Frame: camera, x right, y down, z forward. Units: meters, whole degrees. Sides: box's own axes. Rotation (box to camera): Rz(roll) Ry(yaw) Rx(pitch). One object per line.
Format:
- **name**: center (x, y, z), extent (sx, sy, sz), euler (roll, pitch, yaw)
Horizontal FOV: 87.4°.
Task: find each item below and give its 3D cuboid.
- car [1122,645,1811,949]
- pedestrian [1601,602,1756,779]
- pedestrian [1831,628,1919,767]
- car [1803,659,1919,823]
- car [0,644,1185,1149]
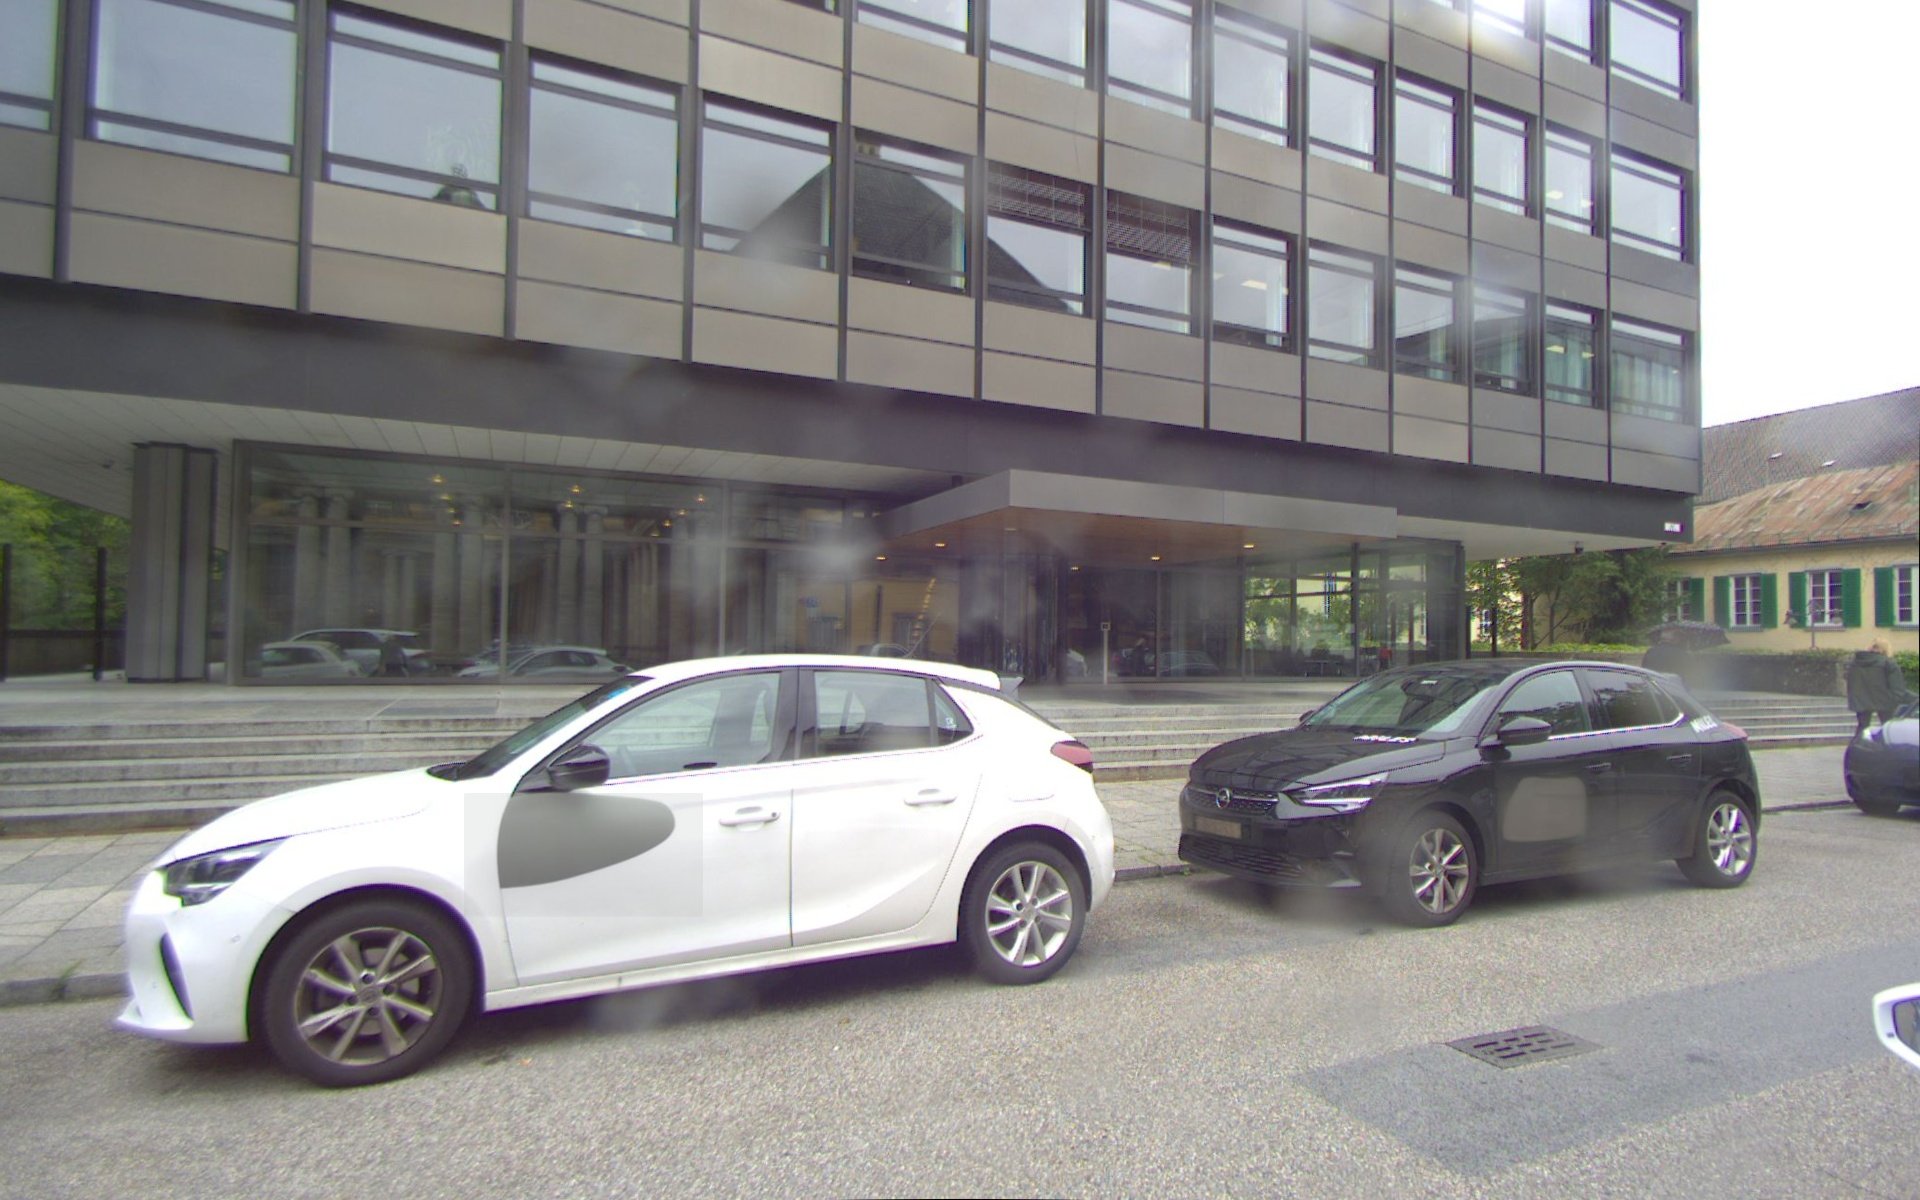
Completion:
- **car**: center (3.318, 1.090, 6.592), extent (4.177, 1.479, 1.737), euler (2, -5, -23)
- **pedestrian**: center (8.968, 1.084, 12.557), extent (1.205, 2.082, 1.132), euler (2, -1, -25)
- **pedestrian**: center (12.275, 1.279, 13.472), extent (0.945, 1.772, 0.746), euler (3, -3, -40)
- **car**: center (10.781, 1.343, 9.943), extent (4.854, 1.458, 1.917), euler (2, -5, -26)
- **car**: center (-1.222, 0.993, 4.582), extent (4.220, 1.458, 1.678), euler (2, -5, -24)
